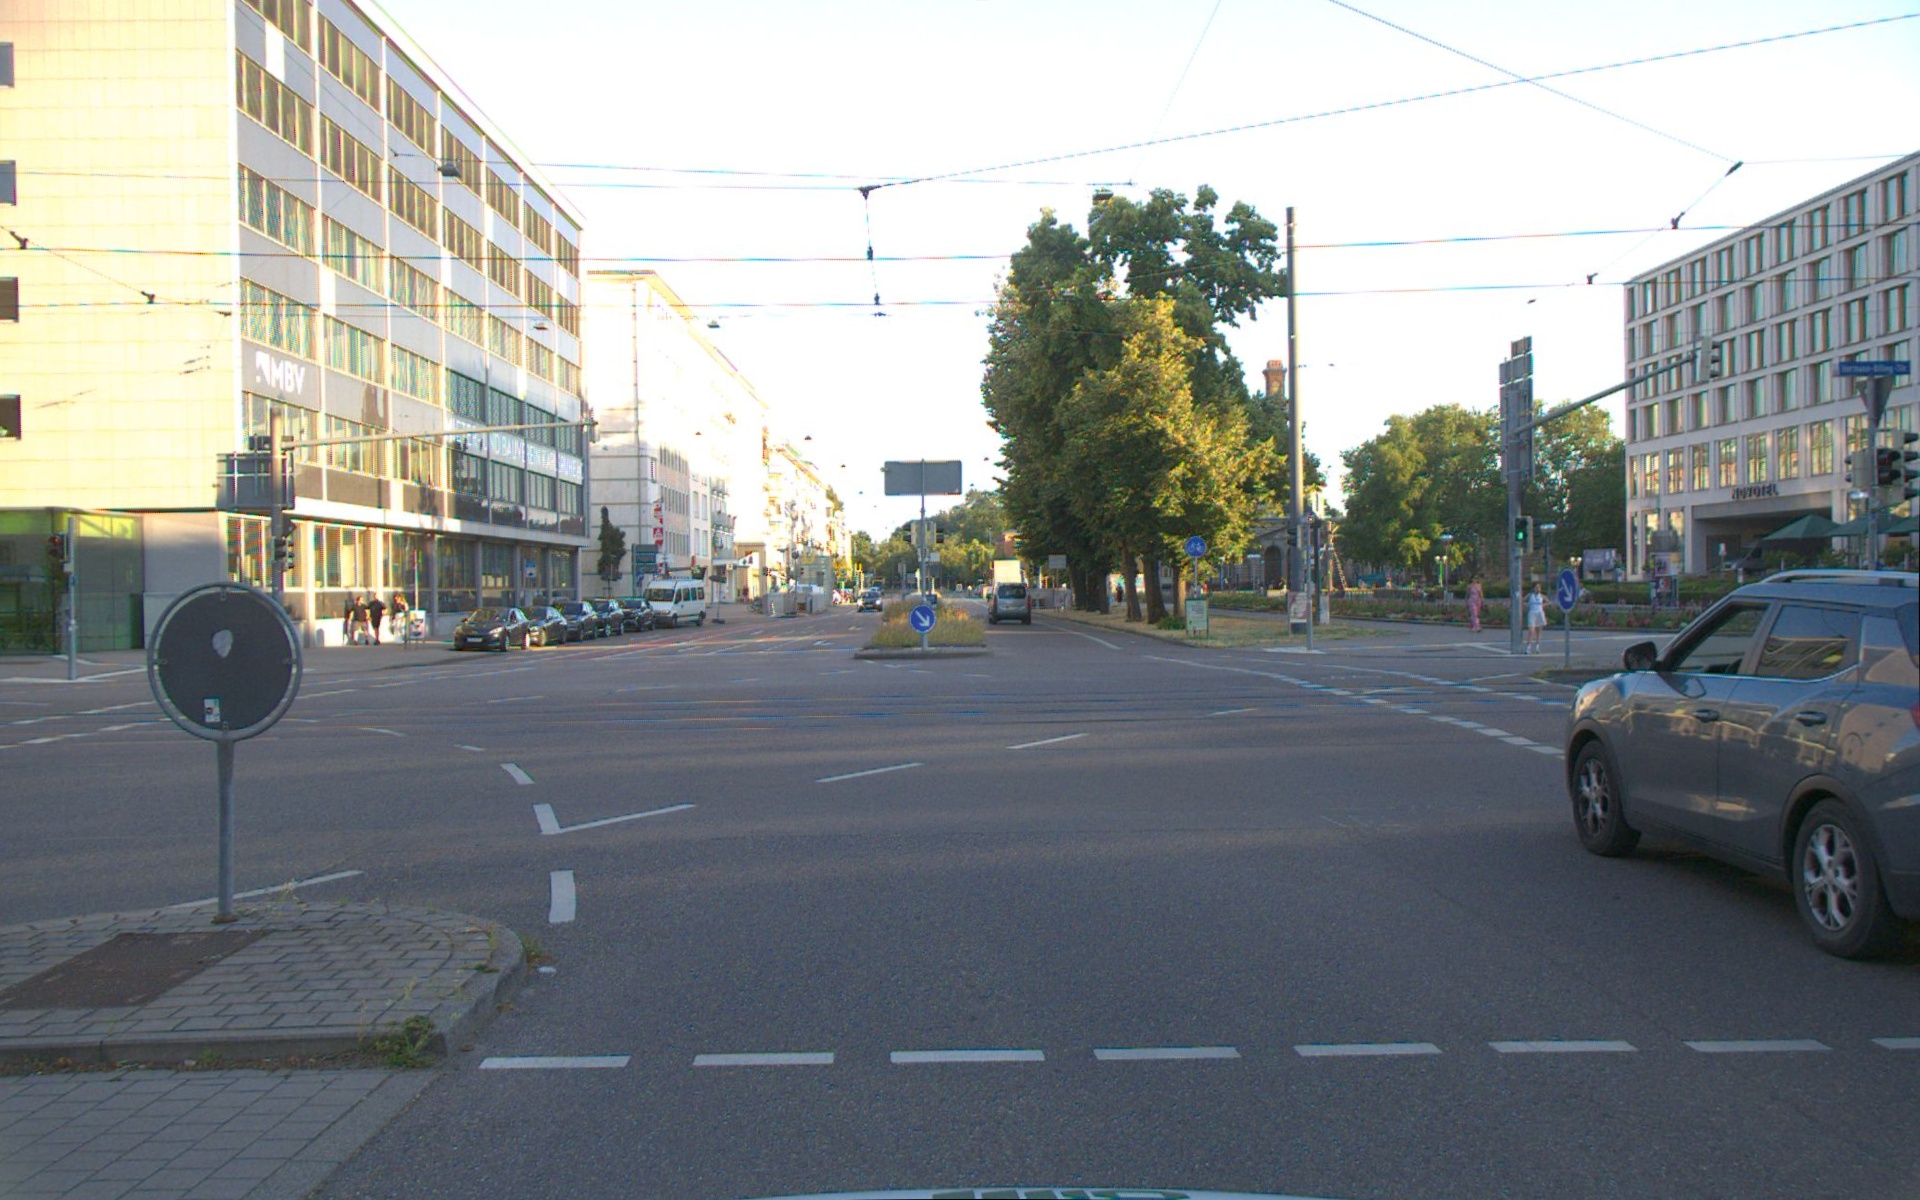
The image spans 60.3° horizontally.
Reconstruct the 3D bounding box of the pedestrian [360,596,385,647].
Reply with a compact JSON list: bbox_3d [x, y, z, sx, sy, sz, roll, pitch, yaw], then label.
[{"bbox_3d":[-21.018,0.758,59.166,0.640,1.799,0.645,-1,0,-5],"label":"pedestrian"}]

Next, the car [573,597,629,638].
[{"bbox_3d":[-16.029,0.760,74.011,1.659,1.694,3.867,2,0,-1],"label":"car"}]

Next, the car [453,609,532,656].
[{"bbox_3d":[-16.149,1.097,57.288,1.659,1.435,3.867,2,0,-1],"label":"car"}]

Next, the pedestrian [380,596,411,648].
[{"bbox_3d":[-19.910,0.765,58.343,0.824,1.799,0.785,-1,0,-5],"label":"pedestrian"}]

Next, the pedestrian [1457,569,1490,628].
[{"bbox_3d":[14.648,-0.035,47.192,0.710,1.654,0.737,-1,0,31],"label":"pedestrian"}]

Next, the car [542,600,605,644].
[{"bbox_3d":[-16.015,0.904,68.765,1.658,1.694,3.868,2,0,0],"label":"car"}]

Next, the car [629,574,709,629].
[{"bbox_3d":[-15.193,0.098,86.723,2.190,2.675,5.858,2,0,10],"label":"car"}]

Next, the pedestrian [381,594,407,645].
[{"bbox_3d":[-20.280,0.712,59.280,0.724,1.799,0.672,-1,0,-5],"label":"pedestrian"}]

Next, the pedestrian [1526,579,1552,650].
[{"bbox_3d":[13.689,0.335,39.106,0.524,1.654,0.628,-1,0,17],"label":"pedestrian"}]

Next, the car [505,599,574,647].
[{"bbox_3d":[-16.105,0.860,63.479,1.659,1.694,3.867,2,0,-1],"label":"car"}]

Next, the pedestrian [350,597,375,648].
[{"bbox_3d":[-21.063,0.792,58.328,0.640,1.799,0.645,-1,0,-5],"label":"pedestrian"}]

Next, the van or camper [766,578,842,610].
[{"bbox_3d":[-12.244,-0.480,129.599,5.453,2.204,2.221,-3,0,-31],"label":"van or camper"}]

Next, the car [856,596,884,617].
[{"bbox_3d":[-6.359,0.441,117.338,1.658,1.445,4.174,-1,0,1],"label":"car"}]

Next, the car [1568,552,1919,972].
[{"bbox_3d":[4.559,0.617,8.112,1.658,1.633,4.090,0,0,0],"label":"car"}]

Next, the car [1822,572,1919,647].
[{"bbox_3d":[21.381,0.175,35.551,4.695,1.549,1.817,-1,-2,1],"label":"car"}]

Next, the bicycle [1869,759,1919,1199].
[{"bbox_3d":[2.260,0.888,2.342,0.596,1.134,2.083,-1,0,-7],"label":"bicycle"}]

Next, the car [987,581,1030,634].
[{"bbox_3d":[2.161,0.308,74.533,1.845,2.277,3.911,-1,0,1],"label":"car"}]

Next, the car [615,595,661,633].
[{"bbox_3d":[-15.595,0.655,80.182,1.468,1.694,3.867,2,0,-1],"label":"car"}]
